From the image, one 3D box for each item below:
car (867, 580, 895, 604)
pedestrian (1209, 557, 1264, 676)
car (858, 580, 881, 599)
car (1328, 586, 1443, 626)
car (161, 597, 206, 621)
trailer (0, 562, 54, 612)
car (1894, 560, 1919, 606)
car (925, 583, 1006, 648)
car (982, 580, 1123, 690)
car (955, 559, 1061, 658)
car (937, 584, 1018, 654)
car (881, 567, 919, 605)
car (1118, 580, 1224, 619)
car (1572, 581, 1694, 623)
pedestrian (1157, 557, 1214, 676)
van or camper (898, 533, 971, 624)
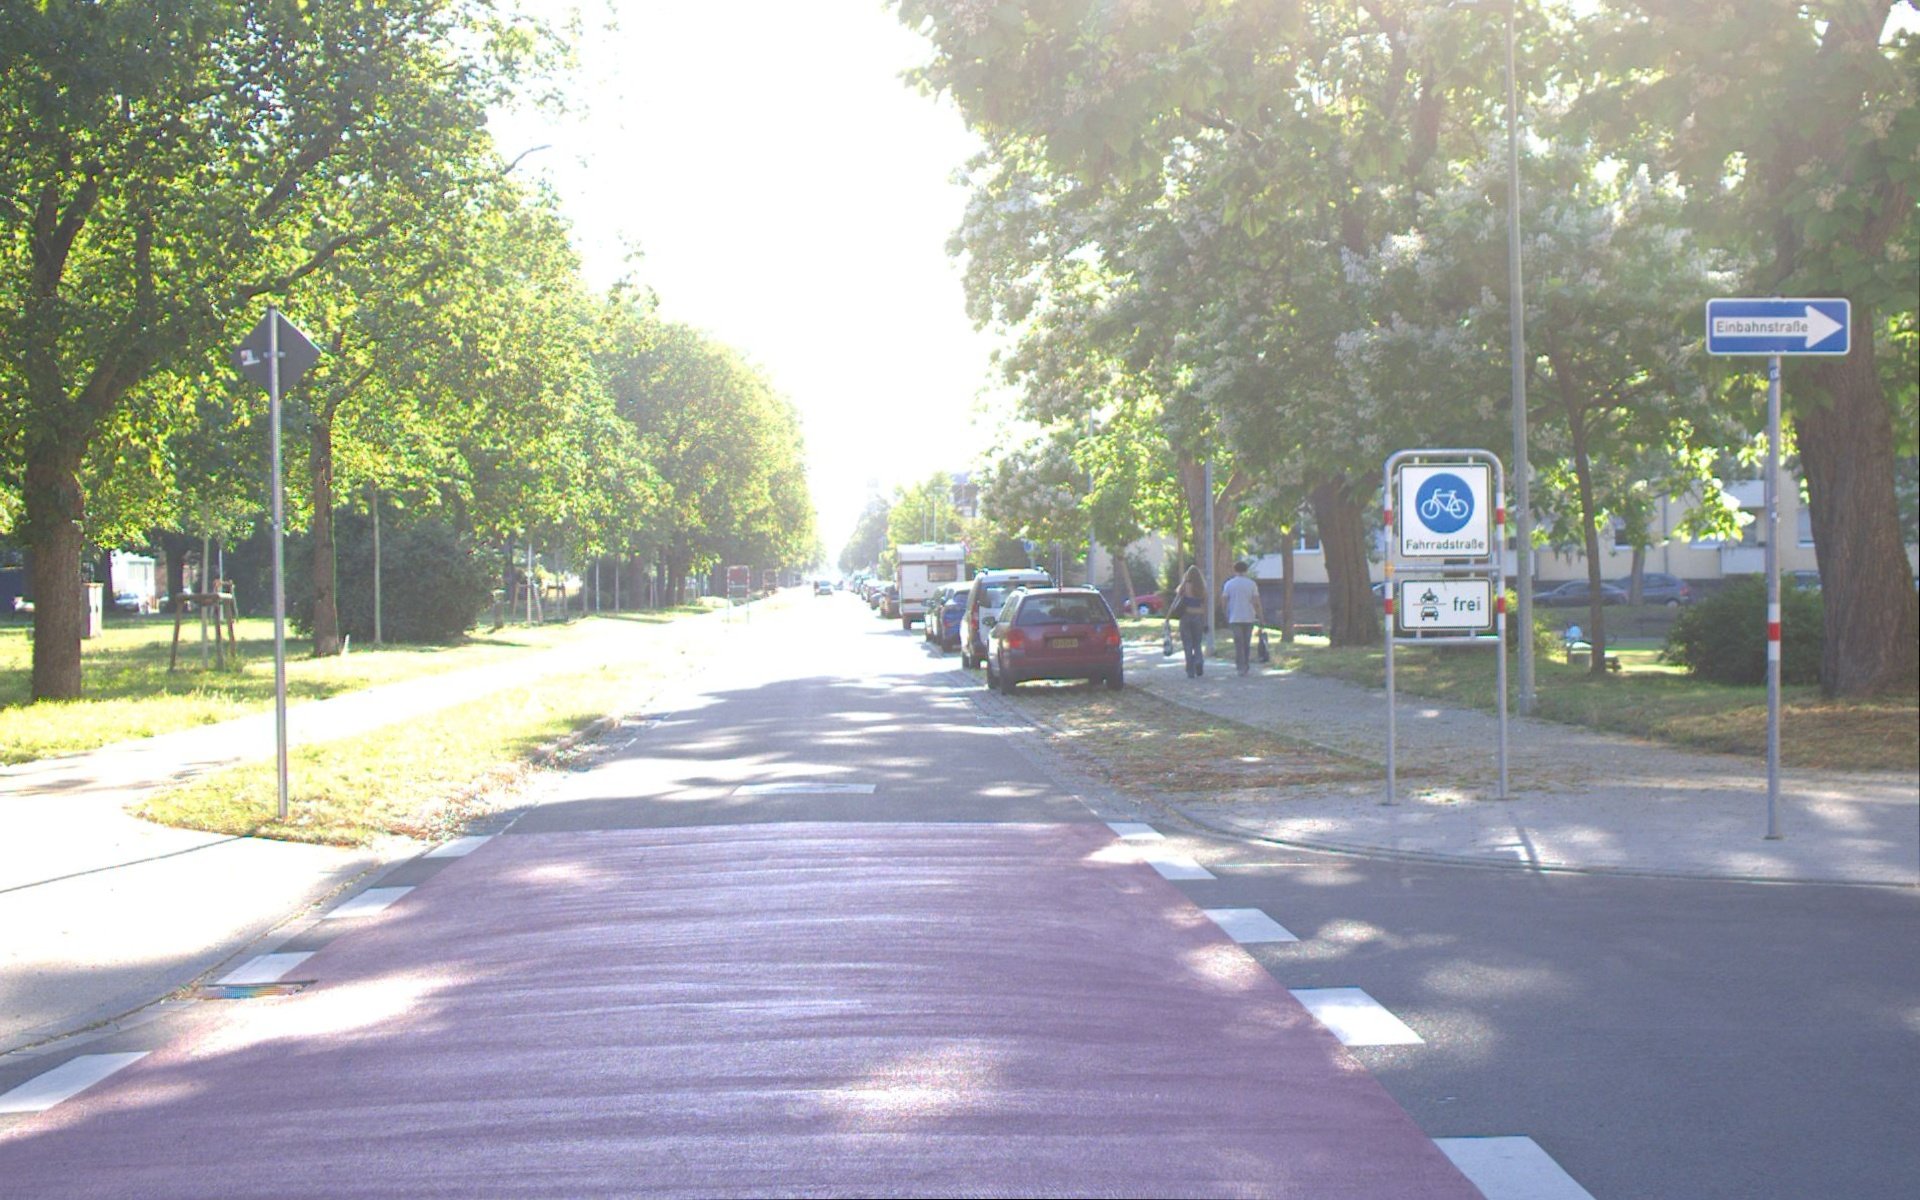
[{"bbox_3d":[-4.885,-0.468,211.266,1.626,1.405,4.249,-1,0,-2],"label":"car"},{"bbox_3d":[4.065,0.232,50.528,0.725,1.730,0.732,0,0,-1],"label":"pedestrian"},{"bbox_3d":[-6.818,-0.794,258.792,1.626,1.405,4.249,-1,0,-2],"label":"car"},{"bbox_3d":[16.233,0.220,131.099,4.197,1.458,1.692,-1,0,14],"label":"car"},{"bbox_3d":[-49.800,0.566,220.471,1.993,1.503,4.115,-1,0,-1],"label":"car"},{"bbox_3d":[-48.611,-0.640,176.381,2.459,2.480,7.050,-1,0,-1],"label":"trailer"},{"bbox_3d":[37.576,-0.671,129.007,4.519,1.740,1.877,-1,0,33],"label":"car"},{"bbox_3d":[0.114,0.387,84.935,1.731,1.545,4.423,-1,0,-3],"label":"car"},{"bbox_3d":[1.277,0.491,49.337,1.678,1.481,4.810,-1,0,-2],"label":"car"},{"bbox_3d":[0.850,0.163,63.274,1.678,1.734,4.514,-1,0,-2],"label":"car"},{"bbox_3d":[0.371,0.428,78.686,1.731,1.545,4.275,-1,0,-1],"label":"car"},{"bbox_3d":[-2.759,-0.619,157.489,1.626,1.663,4.249,-1,0,-2],"label":"car"},{"bbox_3d":[8.460,-0.022,138.353,4.195,1.525,2.000,-1,0,2],"label":"car"},{"bbox_3d":[26.377,0.071,134.720,4.515,1.564,1.879,-1,0,17],"label":"car"},{"bbox_3d":[3.307,0.243,50.485,0.753,1.730,0.732,0,0,-1],"label":"pedestrian"},{"bbox_3d":[-0.907,-0.685,116.215,2.234,2.894,5.673,-1,-1,-2],"label":"van or camper"}]
